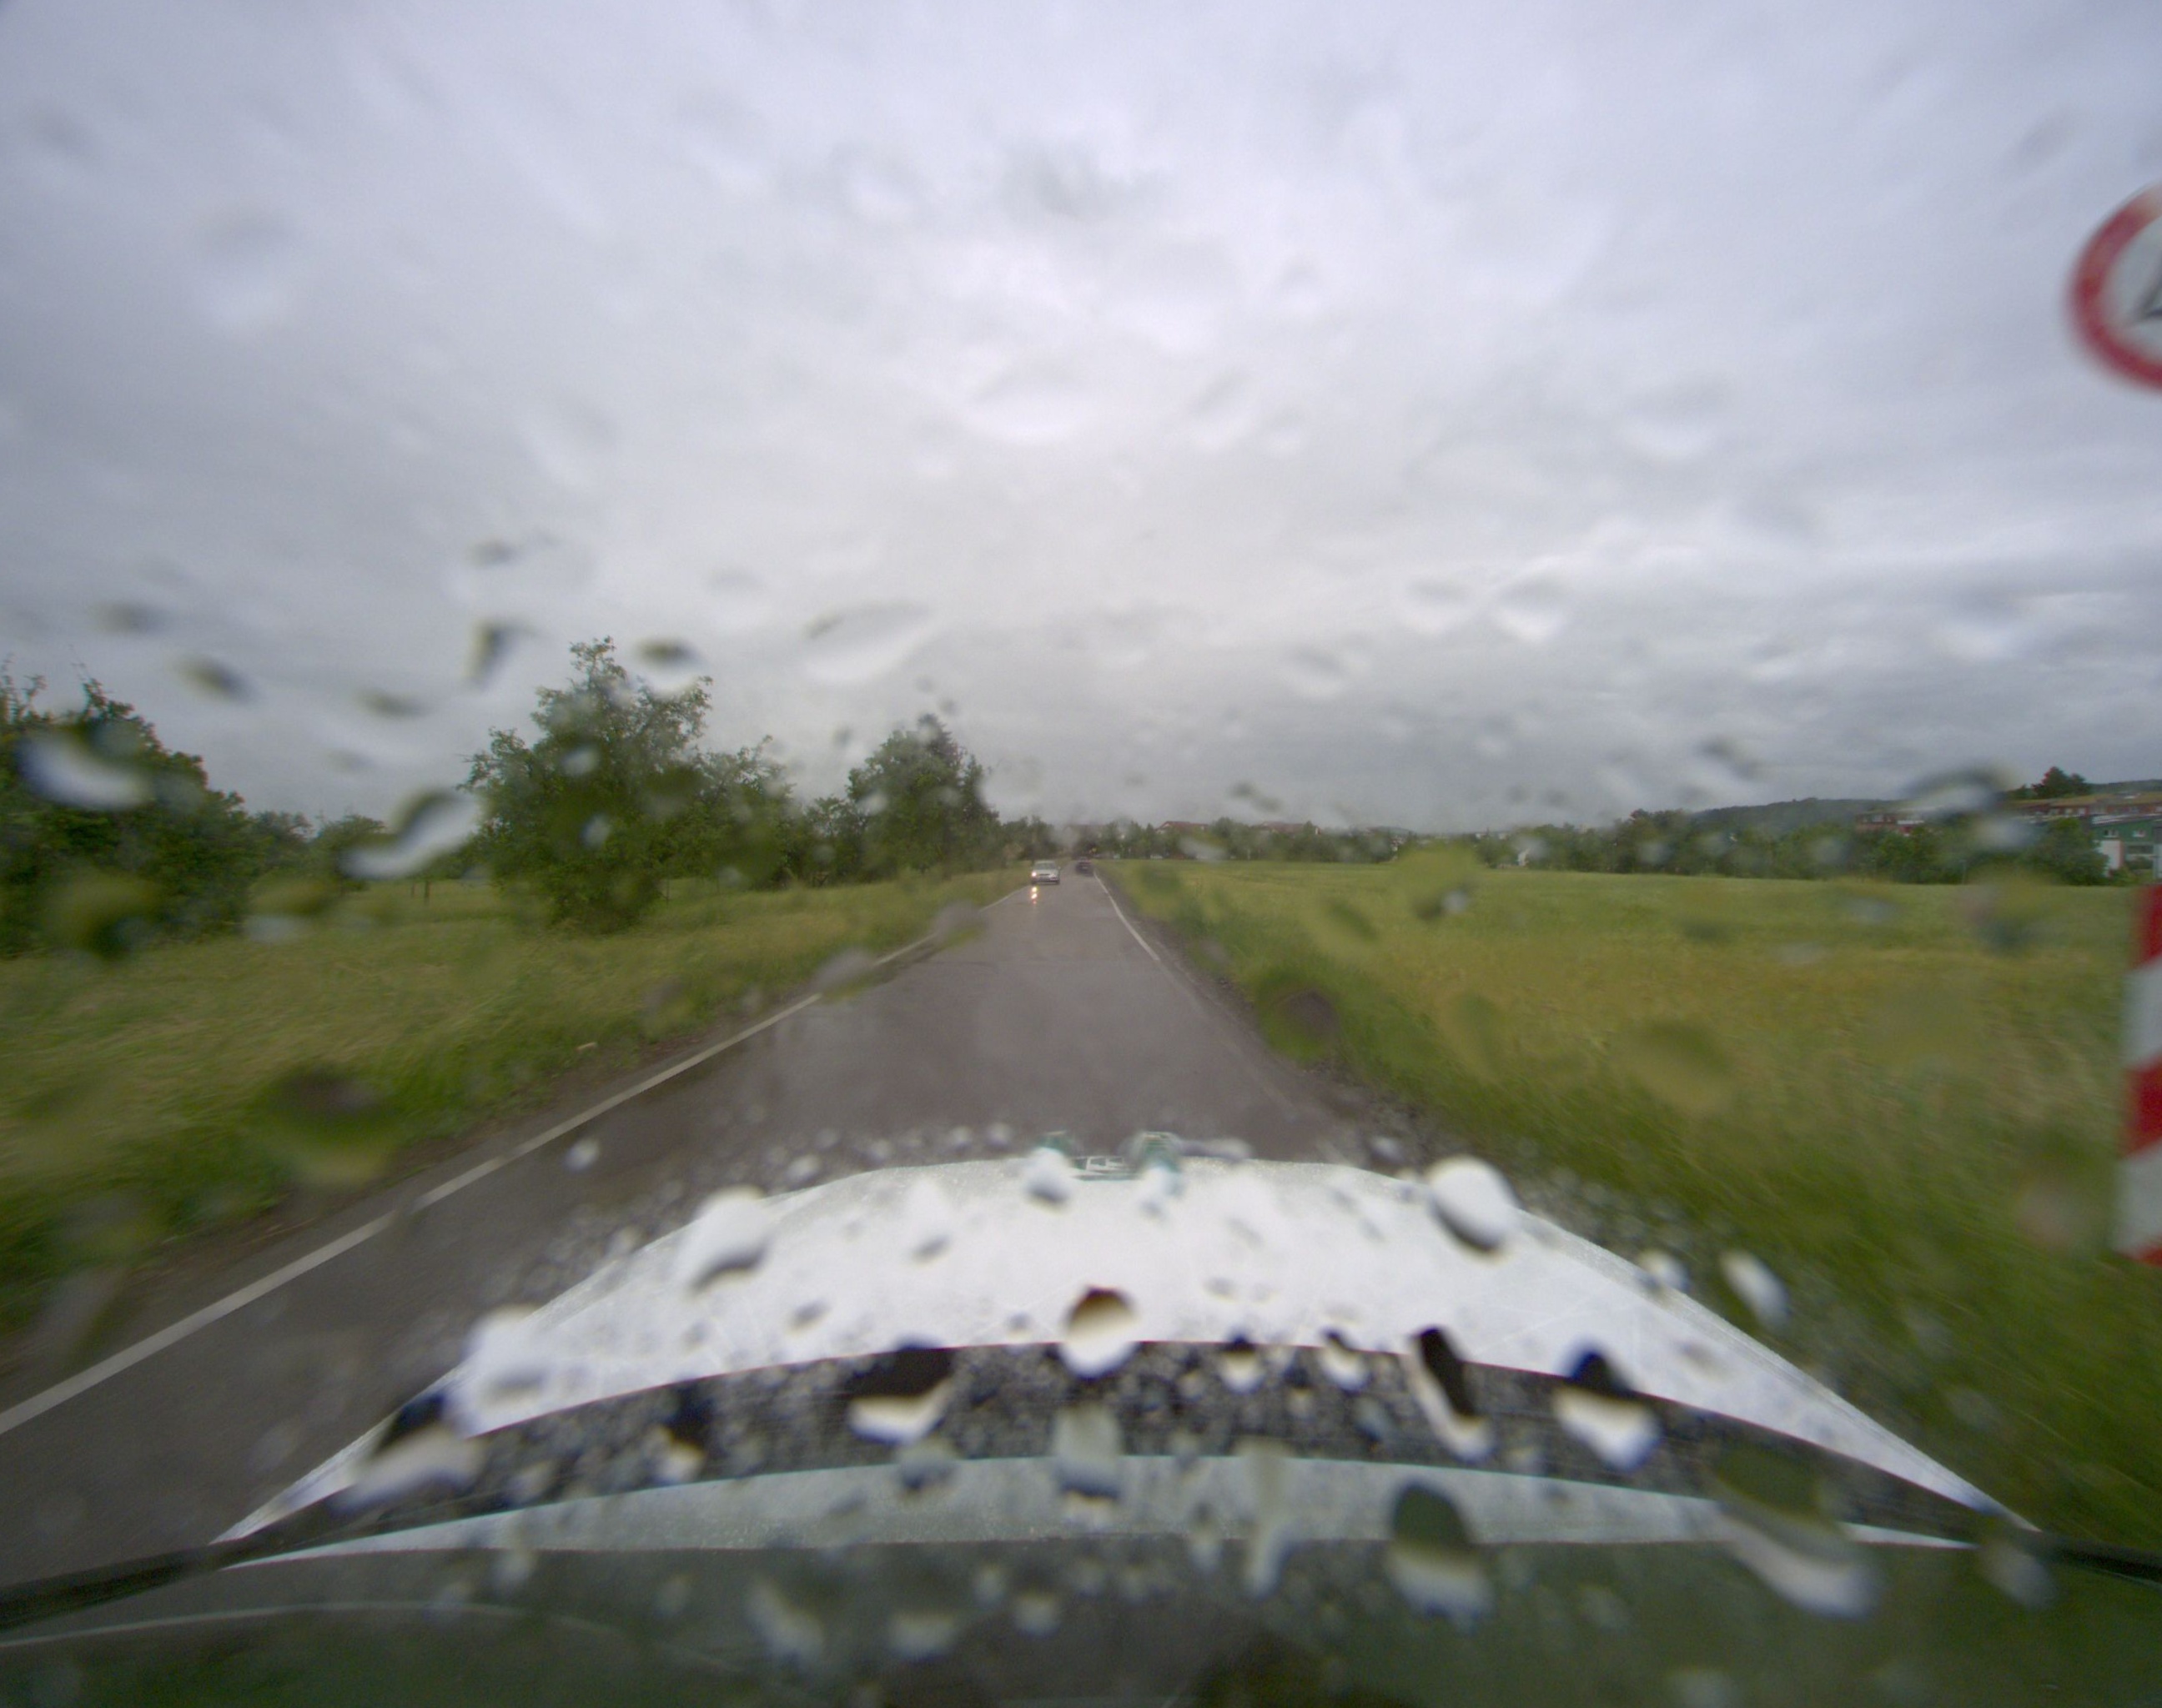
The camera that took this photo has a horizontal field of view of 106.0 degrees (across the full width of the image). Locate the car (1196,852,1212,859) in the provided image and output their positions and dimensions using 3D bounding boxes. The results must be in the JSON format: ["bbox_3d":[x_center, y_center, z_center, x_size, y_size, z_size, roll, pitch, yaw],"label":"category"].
[{"bbox_3d":[30.853,0.395,204.469,3.683,1.564,1.616,-1,-2,13],"label":"car"}]

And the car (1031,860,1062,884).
[{"bbox_3d":[-2.155,1.166,52.166,1.733,1.471,4.123,0,-1,1],"label":"car"}]

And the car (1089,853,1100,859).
[{"bbox_3d":[3.949,0.629,235.055,1.646,1.547,4.022,-1,-2,25],"label":"car"}]

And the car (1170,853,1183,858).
[{"bbox_3d":[24.139,0.374,206.032,3.170,1.371,1.577,-1,-2,13],"label":"car"}]

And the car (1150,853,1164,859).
[{"bbox_3d":[19.294,0.511,207.010,3.366,1.371,1.553,-1,-2,13],"label":"car"}]

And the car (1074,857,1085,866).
[{"bbox_3d":[-0.224,1.314,142.862,1.808,1.594,4.001,0,-1,1],"label":"car"}]

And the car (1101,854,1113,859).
[{"bbox_3d":[7.627,0.753,241.436,1.645,1.547,4.025,-1,-2,36],"label":"car"}]

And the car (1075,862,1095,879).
[{"bbox_3d":[0.435,1.656,79.312,1.808,1.594,4.001,0,-1,1],"label":"car"}]
